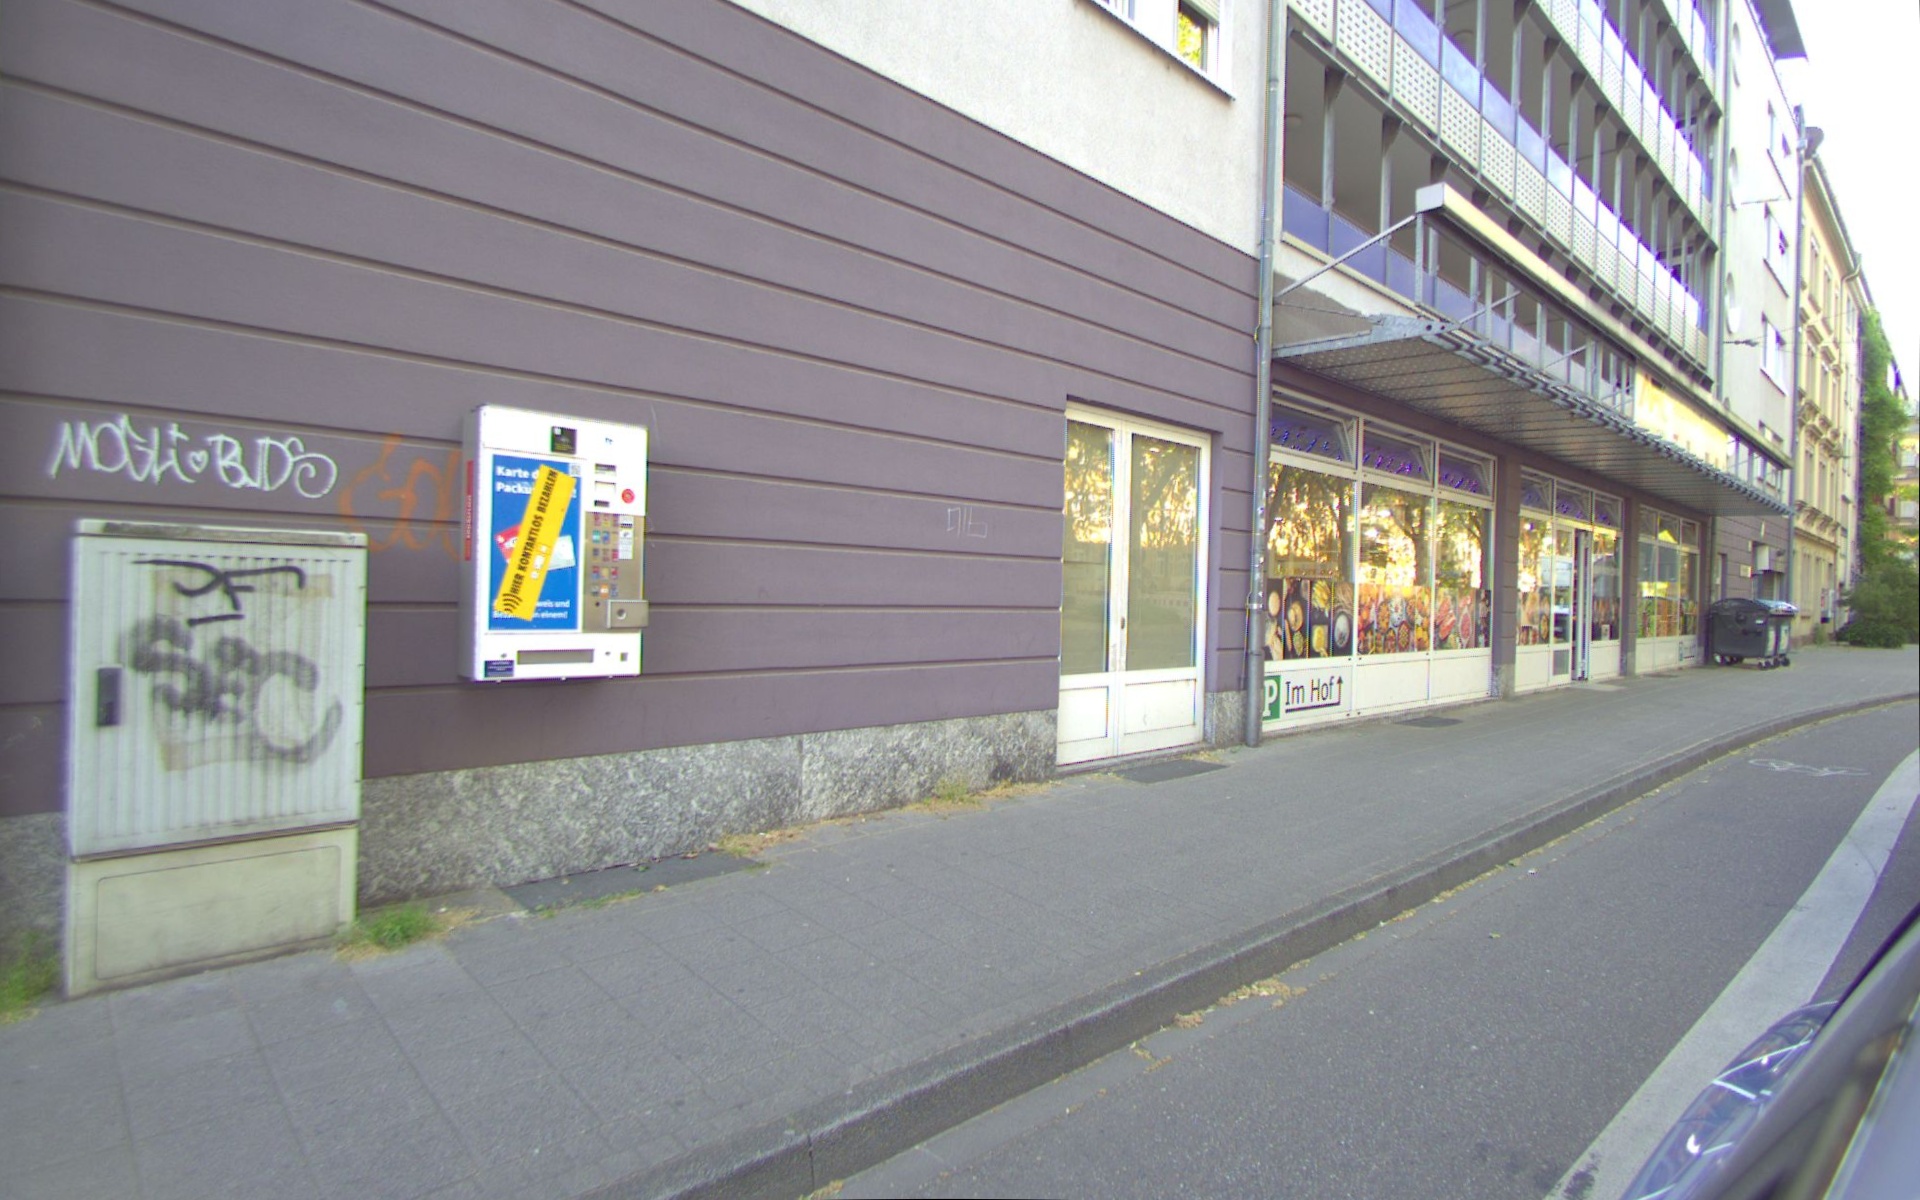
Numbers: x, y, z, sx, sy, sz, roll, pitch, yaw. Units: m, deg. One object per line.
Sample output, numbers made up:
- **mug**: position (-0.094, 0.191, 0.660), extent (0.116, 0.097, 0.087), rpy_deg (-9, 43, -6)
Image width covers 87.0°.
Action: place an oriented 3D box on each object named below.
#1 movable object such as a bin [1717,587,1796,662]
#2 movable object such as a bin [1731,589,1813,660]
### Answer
- **movable object such as a bin**: position (16.439, 0.491, 20.880), extent (1.274, 1.465, 1.068), rpy_deg (1, 1, -42)
- **movable object such as a bin**: position (17.788, 0.511, 22.167), extent (1.282, 1.464, 1.123), rpy_deg (1, 1, -38)
